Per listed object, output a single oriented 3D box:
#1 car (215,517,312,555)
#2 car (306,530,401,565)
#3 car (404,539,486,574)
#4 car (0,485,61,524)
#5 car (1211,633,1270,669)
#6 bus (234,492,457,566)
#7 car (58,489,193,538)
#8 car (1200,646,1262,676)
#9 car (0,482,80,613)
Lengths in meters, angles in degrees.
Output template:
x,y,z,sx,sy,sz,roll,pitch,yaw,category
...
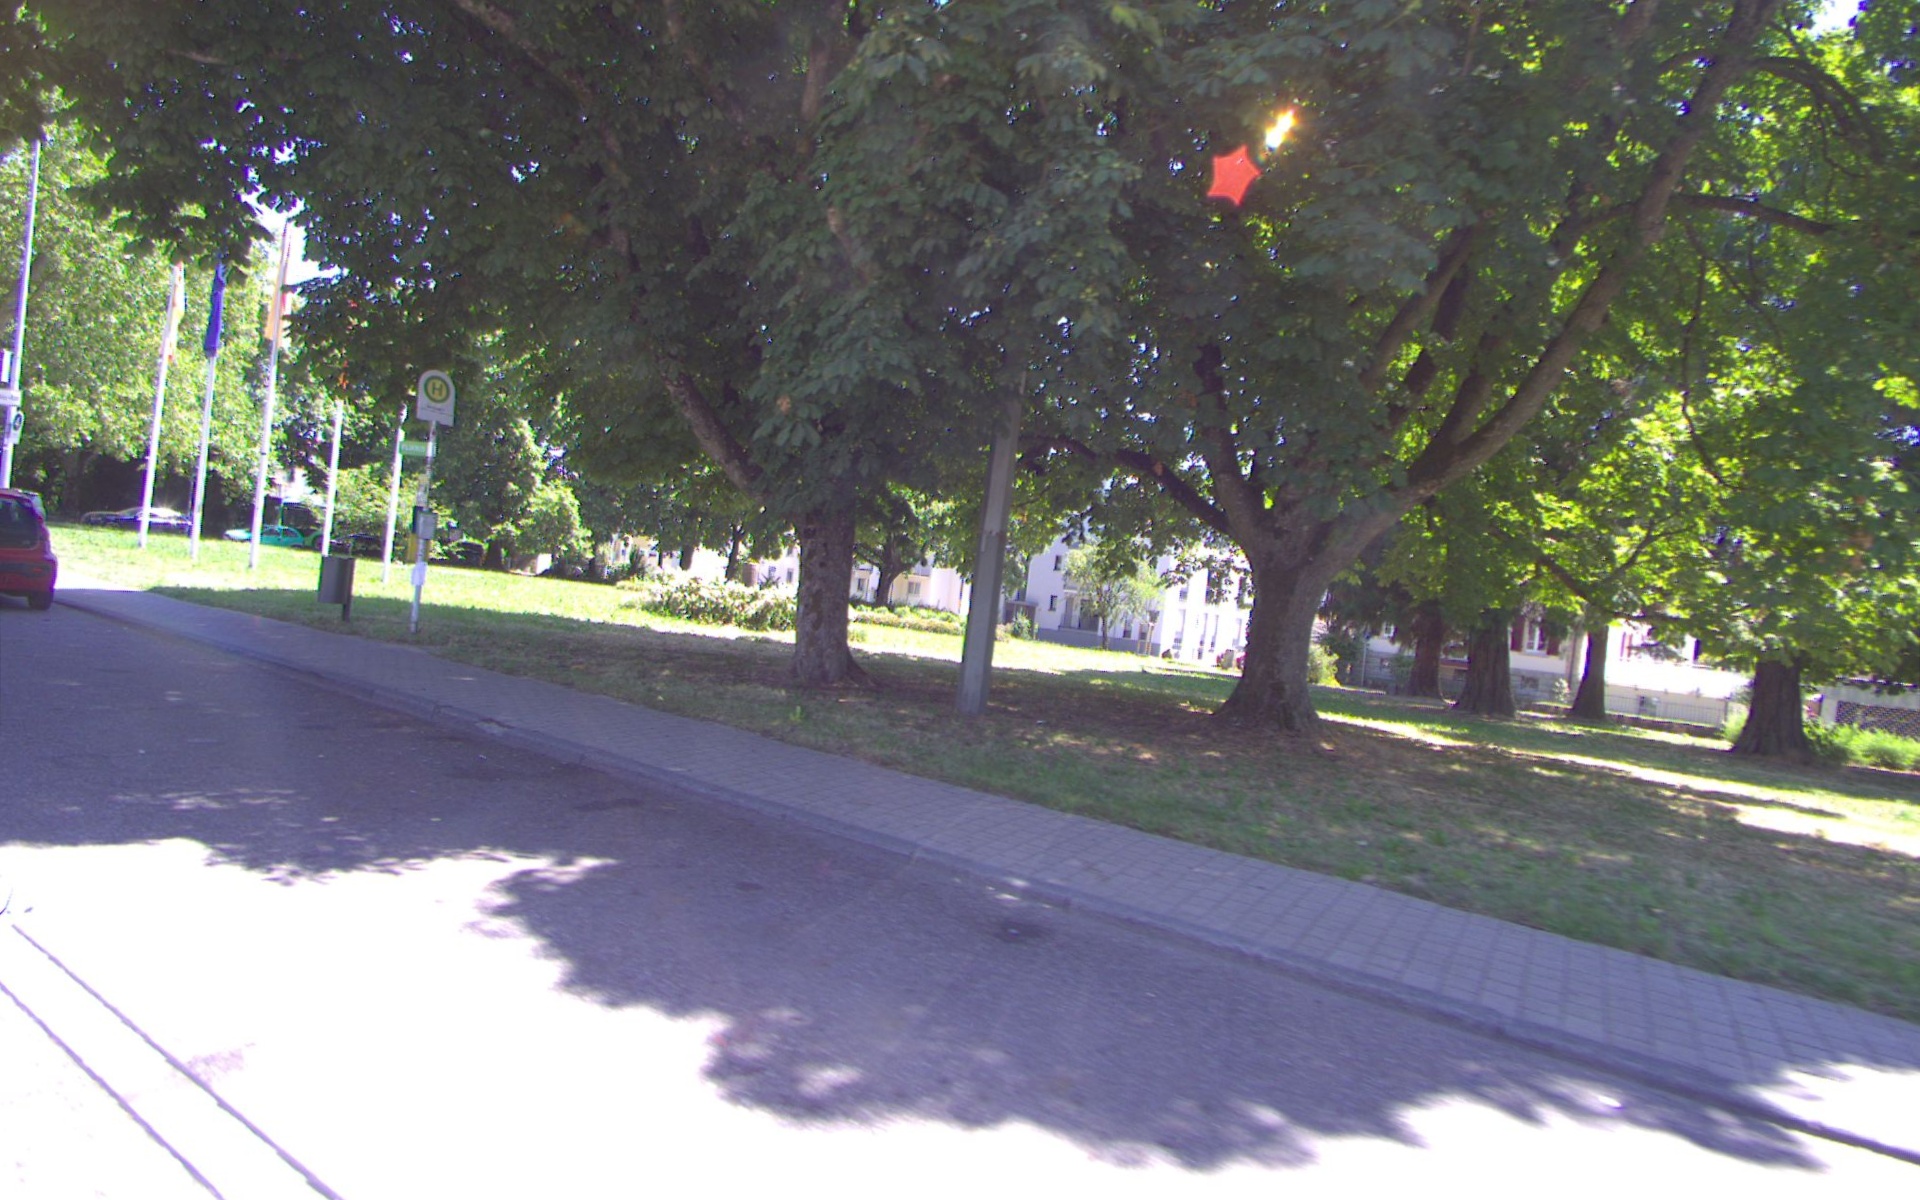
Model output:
x,y,z,sx,sy,sz,roll,pitch,yaw,category
-38.407,-3.512,55.564,1.968,1.471,3.885,5,-2,34,car
-35.835,-3.105,59.560,1.968,1.433,4.342,6,-2,33,car
-32.721,-2.718,64.032,1.968,1.627,4.101,5,-2,34,car
-44.580,-4.598,46.530,1.969,1.484,4.106,7,0,35,car
18.141,3.299,65.042,3.733,1.981,1.810,6,-1,-42,car
-39.032,-4.410,64.784,2.231,3.013,12.391,6,-1,32,bus
-41.635,-4.294,50.303,1.969,1.627,4.824,7,0,36,car
16.555,3.743,61.476,3.668,1.450,1.453,7,0,-32,car
-12.819,-0.810,12.731,3.649,1.497,1.718,7,0,36,car
